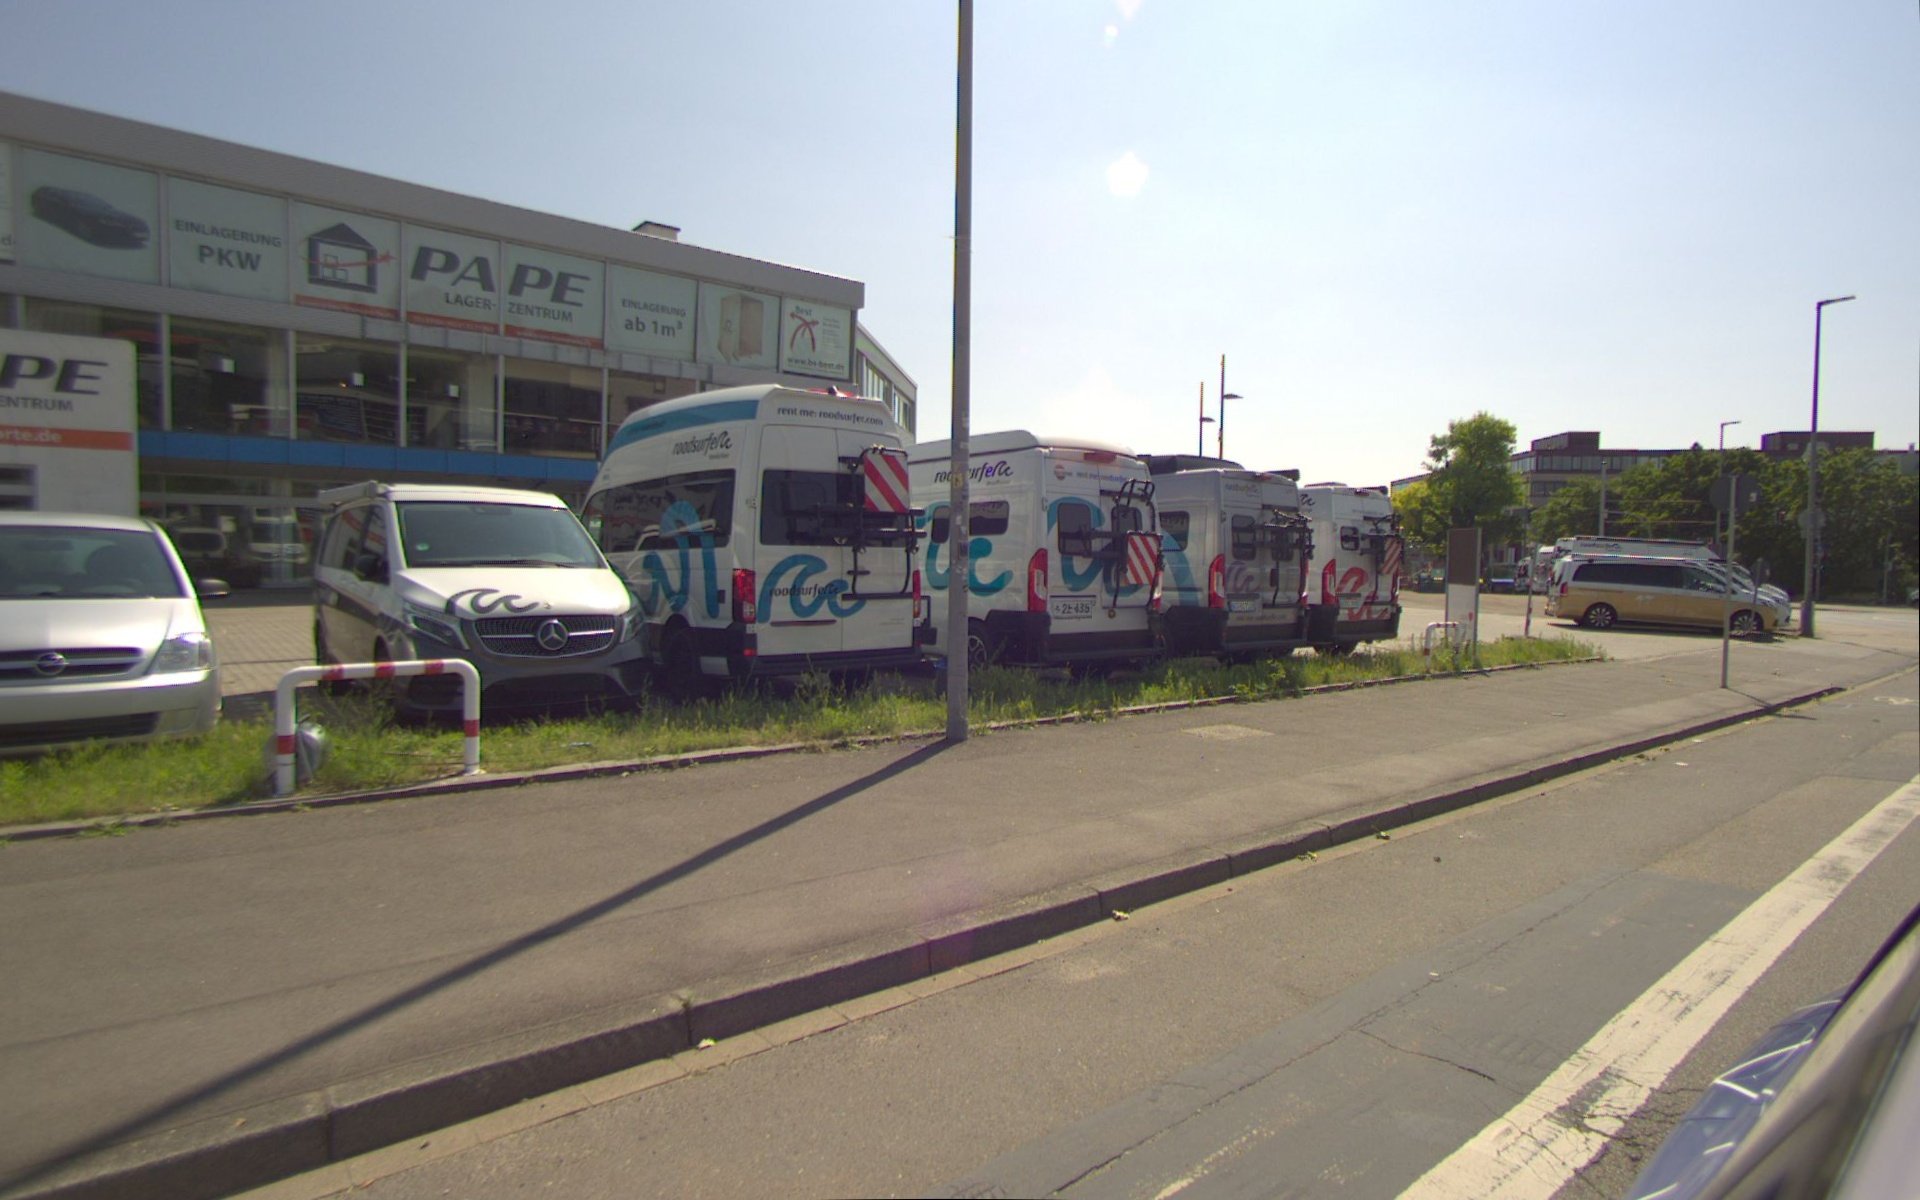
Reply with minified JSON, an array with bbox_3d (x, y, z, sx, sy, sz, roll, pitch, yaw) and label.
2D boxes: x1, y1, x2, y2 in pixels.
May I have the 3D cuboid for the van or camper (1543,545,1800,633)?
[{"bbox_3d":[18.577,-0.379,26.767,5.074,1.984,1.975,3,4,20],"label":"van or camper"}]

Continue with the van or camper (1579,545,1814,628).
[{"bbox_3d":[20.749,-0.448,28.814,4.922,2.070,2.029,3,3,20],"label":"van or camper"}]

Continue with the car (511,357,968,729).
[{"bbox_3d":[-2.797,-0.608,11.049,2.279,2.904,6.244,0,3,-39],"label":"car"}]

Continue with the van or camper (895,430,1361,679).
[{"bbox_3d":[2.024,-0.675,14.491,2.664,2.749,6.365,-1,3,-39],"label":"van or camper"}]

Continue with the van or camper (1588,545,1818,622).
[{"bbox_3d":[22.688,-0.569,31.209,5.073,2.101,2.438,2,3,19],"label":"van or camper"}]

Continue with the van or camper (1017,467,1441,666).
[{"bbox_3d":[3.976,-0.600,16.224,2.572,2.555,6.211,-1,3,-39],"label":"van or camper"}]

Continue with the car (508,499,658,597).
[{"bbox_3d":[-10.558,-1.447,28.088,2.285,2.448,5.310,0,3,-40],"label":"car"}]

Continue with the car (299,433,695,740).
[{"bbox_3d":[-4.471,-0.263,9.169,1.965,1.975,5.247,0,4,-40],"label":"car"}]

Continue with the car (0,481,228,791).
[{"bbox_3d":[-6.186,0.157,6.833,1.766,1.613,3.930,0,1,-40],"label":"car"}]

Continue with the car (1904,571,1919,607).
[{"bbox_3d":[58.445,-0.552,58.578,2.169,2.159,5.539,0,3,-4],"label":"car"}]

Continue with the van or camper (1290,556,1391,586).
[{"bbox_3d":[22.826,-1.753,60.940,5.338,1.631,2.285,2,2,13],"label":"van or camper"}]

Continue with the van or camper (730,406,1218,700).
[{"bbox_3d":[-0.224,-0.610,12.757,2.664,2.733,6.365,-1,3,-39],"label":"van or camper"}]

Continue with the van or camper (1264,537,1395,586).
[{"bbox_3d":[16.899,-1.771,46.608,5.338,2.064,2.285,2,2,13],"label":"van or camper"}]

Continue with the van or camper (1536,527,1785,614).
[{"bbox_3d":[23.333,-1.039,34.069,6.272,2.668,2.523,2,2,15],"label":"van or camper"}]
